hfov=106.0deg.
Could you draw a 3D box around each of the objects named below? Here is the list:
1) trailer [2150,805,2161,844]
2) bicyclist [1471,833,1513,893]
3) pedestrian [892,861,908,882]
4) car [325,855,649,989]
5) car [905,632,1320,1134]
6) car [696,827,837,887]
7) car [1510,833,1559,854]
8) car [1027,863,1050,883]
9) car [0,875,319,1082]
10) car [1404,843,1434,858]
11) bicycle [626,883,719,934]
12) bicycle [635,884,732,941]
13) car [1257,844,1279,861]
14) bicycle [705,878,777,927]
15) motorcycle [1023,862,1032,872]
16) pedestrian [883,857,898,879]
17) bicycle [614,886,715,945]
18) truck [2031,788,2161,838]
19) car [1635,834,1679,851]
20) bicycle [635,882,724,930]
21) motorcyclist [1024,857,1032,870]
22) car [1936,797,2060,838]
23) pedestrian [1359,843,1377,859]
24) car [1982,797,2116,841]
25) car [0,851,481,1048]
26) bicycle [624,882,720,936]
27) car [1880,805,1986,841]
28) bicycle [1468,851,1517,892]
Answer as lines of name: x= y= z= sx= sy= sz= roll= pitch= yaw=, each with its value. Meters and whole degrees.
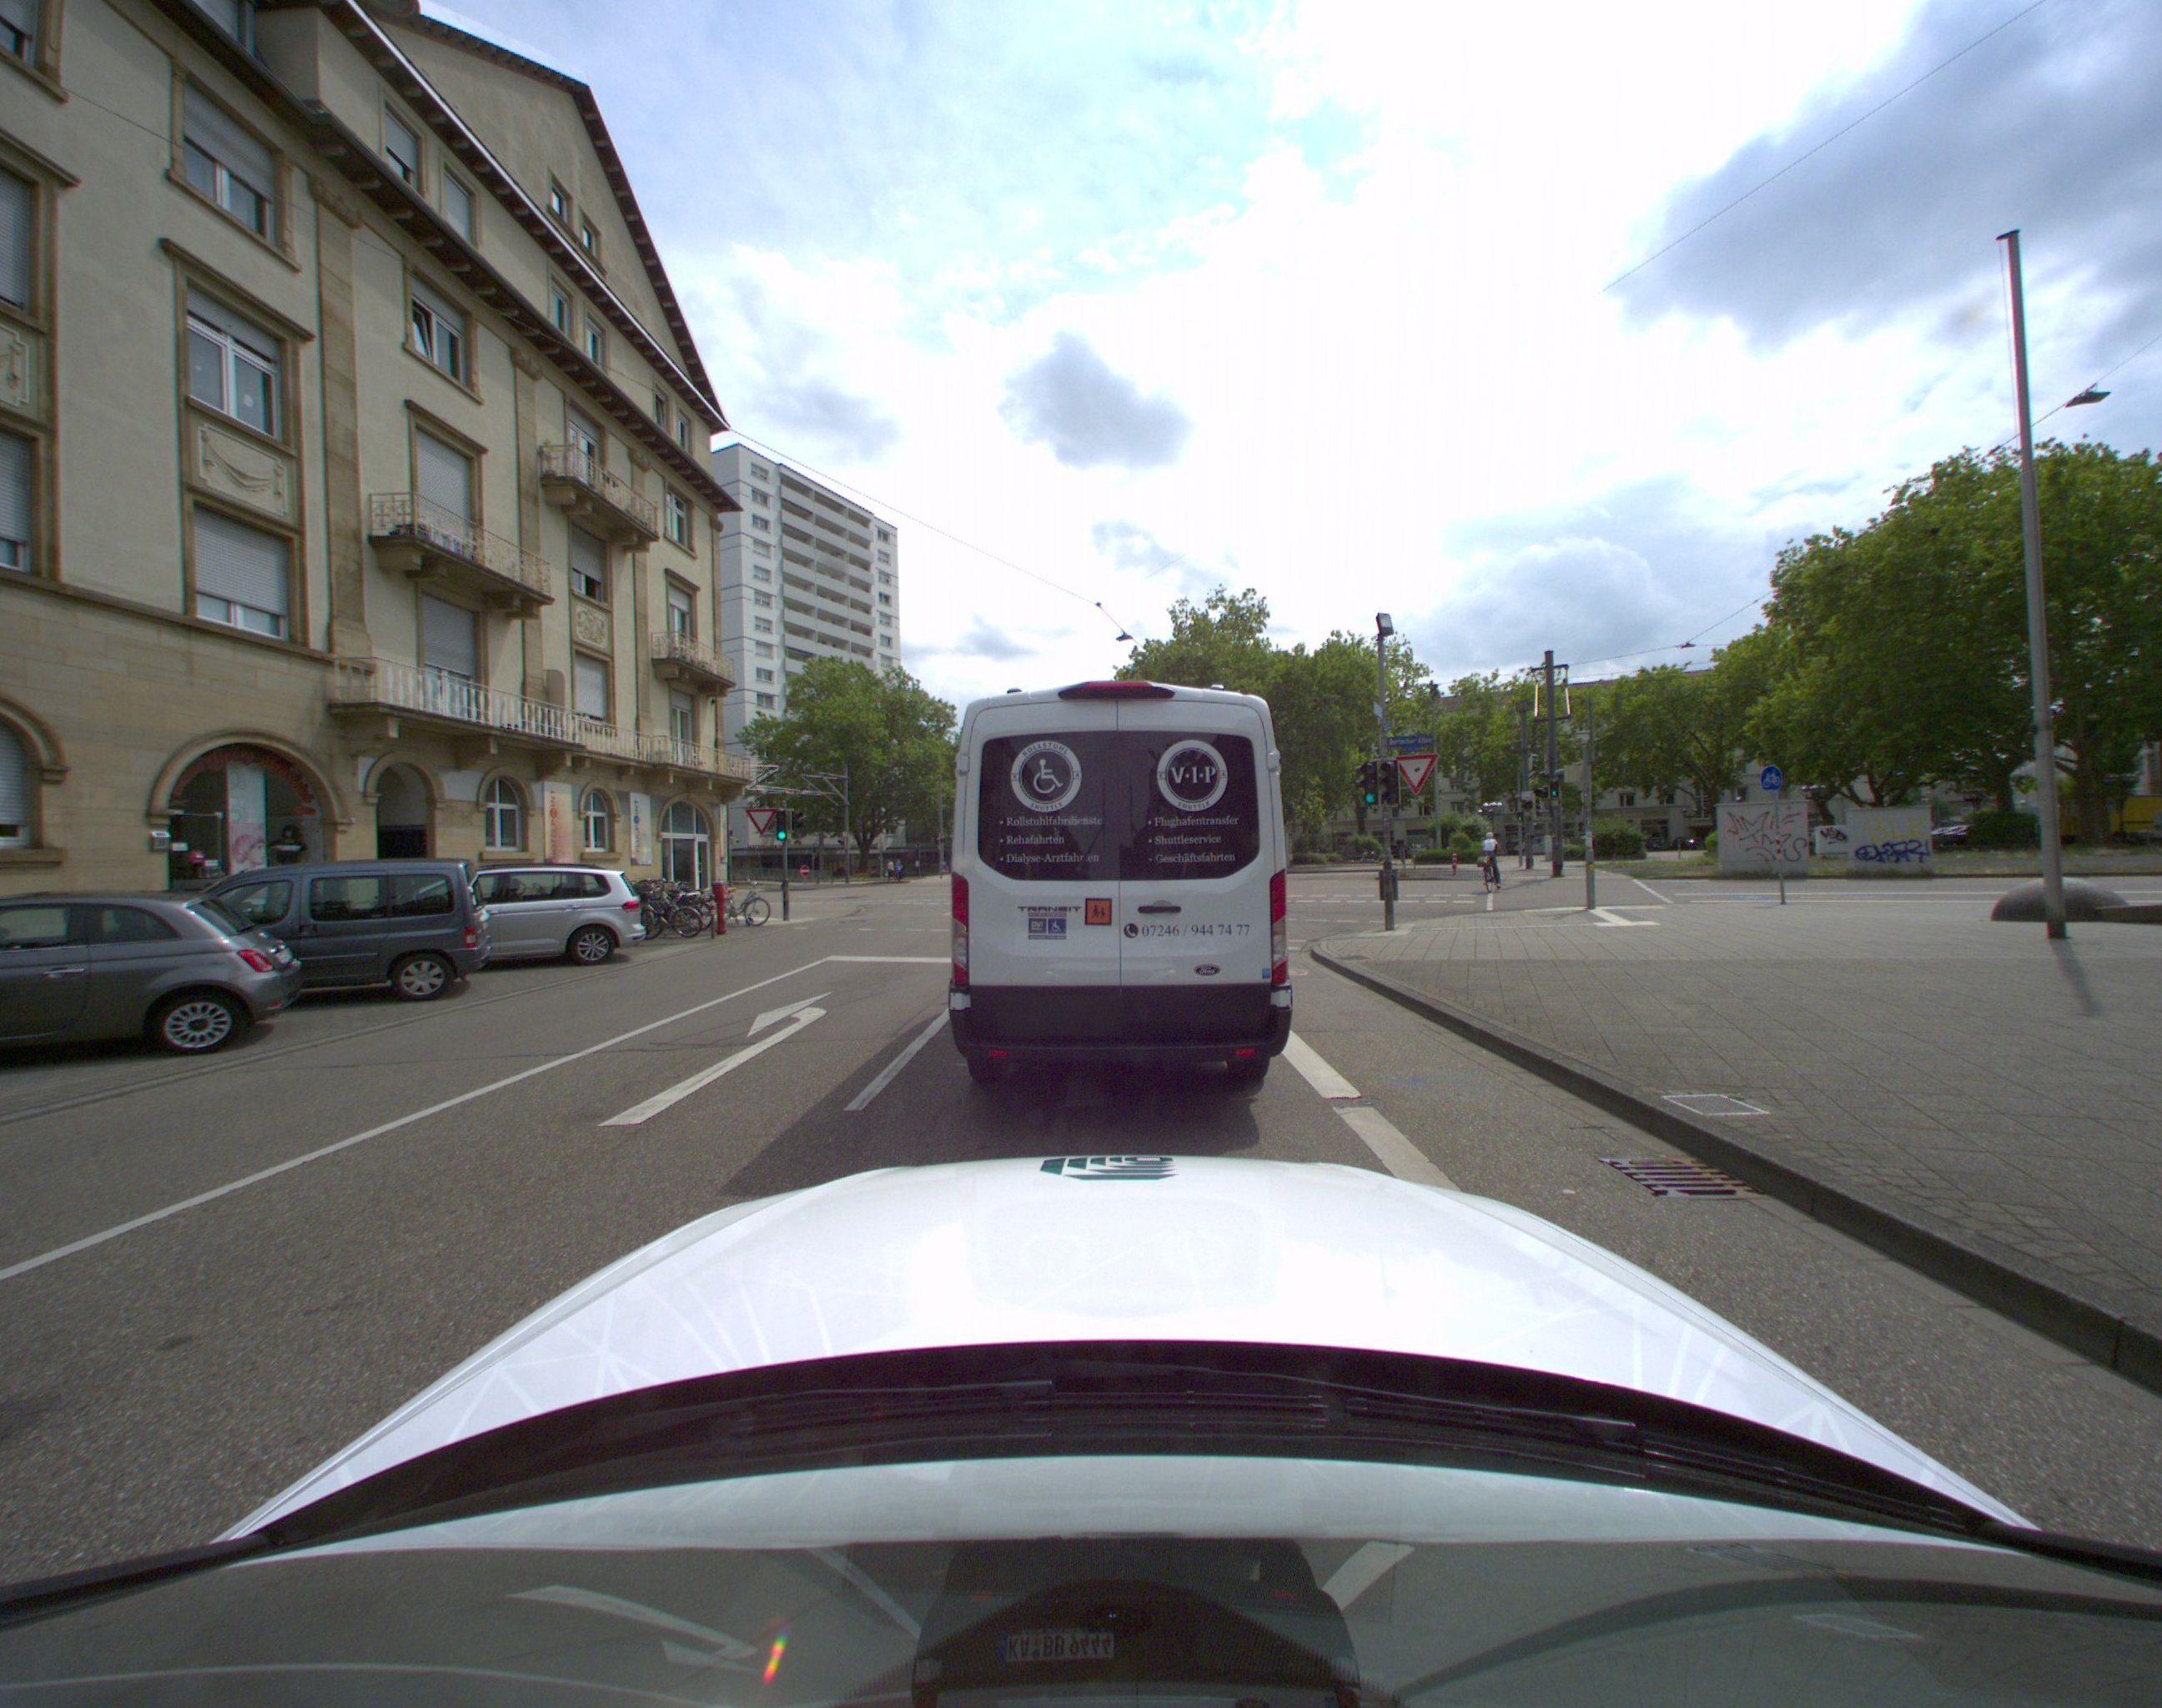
trailer: x=55.399 y=-1.512 z=39.186 sx=4.381 sy=1.925 sz=1.865 roll=-2 pitch=0 yaw=26
bicyclist: x=11.773 y=0.254 z=23.316 sx=0.895 sy=1.683 sz=0.762 roll=-2 pitch=0 yaw=36
pedestrian: x=-13.336 y=1.288 z=59.990 sx=0.727 sy=1.514 sz=0.922 roll=-2 pitch=0 yaw=-38
car: x=-9.507 y=0.968 z=13.351 sx=4.031 sy=1.773 sz=1.776 roll=-2 pitch=0 yaw=-37
car: x=0.199 y=0.122 z=6.680 sx=2.174 sy=2.647 sz=4.629 roll=-1 pitch=1 yaw=1
car: x=-22.329 y=0.253 z=57.686 sx=9.793 sy=3.915 sz=3.476 roll=-2 pitch=0 yaw=26
car: x=43.448 y=-0.985 z=78.060 sx=3.950 sy=1.883 sz=1.868 roll=-2 pitch=0 yaw=26
car: x=-3.657 y=1.616 z=70.140 sx=1.585 sy=1.507 sz=3.809 roll=-2 pitch=0 yaw=2
car: x=-9.839 y=1.115 z=7.411 sx=4.031 sy=1.651 sz=1.776 roll=-2 pitch=0 yaw=-37
car: x=36.261 y=-0.399 z=87.509 sx=1.983 sy=1.503 sz=4.008 roll=-2 pitch=0 yaw=7
bicycle: x=-9.459 y=1.251 z=18.900 sx=1.807 sy=1.120 sz=0.593 roll=0 pitch=0 yaw=-6
bicycle: x=-8.550 y=1.236 z=17.528 sx=1.800 sy=1.120 sz=0.595 roll=2 pitch=0 yaw=5
car: x=21.708 y=-0.183 z=94.641 sx=1.983 sy=1.930 sz=4.008 roll=-2 pitch=0 yaw=7
bicycle: x=-8.642 y=1.214 z=20.696 sx=1.859 sy=1.167 sz=0.500 roll=0 pitch=0 yaw=22
motorcycle: x=-5.630 y=1.404 z=85.730 sx=0.680 sy=0.971 sz=2.325 roll=-2 pitch=0 yaw=2
pedestrian: x=-13.780 y=1.016 z=58.876 sx=0.799 sy=1.572 sz=0.728 roll=-2 pitch=0 yaw=43
bicycle: x=-8.618 y=1.272 z=16.858 sx=1.799 sy=1.120 sz=0.595 roll=-2 pitch=0 yaw=8
truck: x=58.253 y=-2.258 z=46.287 sx=3.042 sy=2.577 sz=6.549 roll=-2 pitch=0 yaw=25
car: x=55.512 y=-1.122 z=78.577 sx=1.757 sy=1.503 sz=4.008 roll=-2 pitch=0 yaw=7
bicycle: x=-9.643 y=1.238 z=19.602 sx=1.807 sy=1.120 sz=0.593 roll=0 pitch=0 yaw=-6
motorcyclist: x=-5.604 y=0.999 z=86.353 sx=0.680 sy=1.395 sz=0.682 roll=-2 pitch=0 yaw=2
car: x=65.723 y=-2.569 z=58.533 sx=5.271 sy=2.585 sz=2.512 roll=-2 pitch=-1 yaw=24
pedestrian: x=24.699 y=-0.252 z=69.996 sx=1.086 sy=1.236 sz=1.443 roll=-4 pitch=-1 yaw=6
car: x=64.409 y=-2.285 z=54.323 sx=5.271 sy=2.585 sz=2.192 roll=-2 pitch=-1 yaw=24
car: x=-9.908 y=0.968 z=10.011 sx=4.031 sy=1.878 sz=1.776 roll=-2 pitch=0 yaw=-37
bicycle: x=-9.152 y=1.213 z=18.281 sx=1.807 sy=1.166 sz=0.593 roll=0 pitch=0 yaw=-6
car: x=68.912 y=-2.488 z=66.003 sx=5.271 sy=2.585 sz=2.512 roll=-2 pitch=-1 yaw=24
bicycle: x=11.812 y=0.482 z=23.329 sx=0.894 sy=1.075 sz=1.983 roll=-2 pitch=0 yaw=37
